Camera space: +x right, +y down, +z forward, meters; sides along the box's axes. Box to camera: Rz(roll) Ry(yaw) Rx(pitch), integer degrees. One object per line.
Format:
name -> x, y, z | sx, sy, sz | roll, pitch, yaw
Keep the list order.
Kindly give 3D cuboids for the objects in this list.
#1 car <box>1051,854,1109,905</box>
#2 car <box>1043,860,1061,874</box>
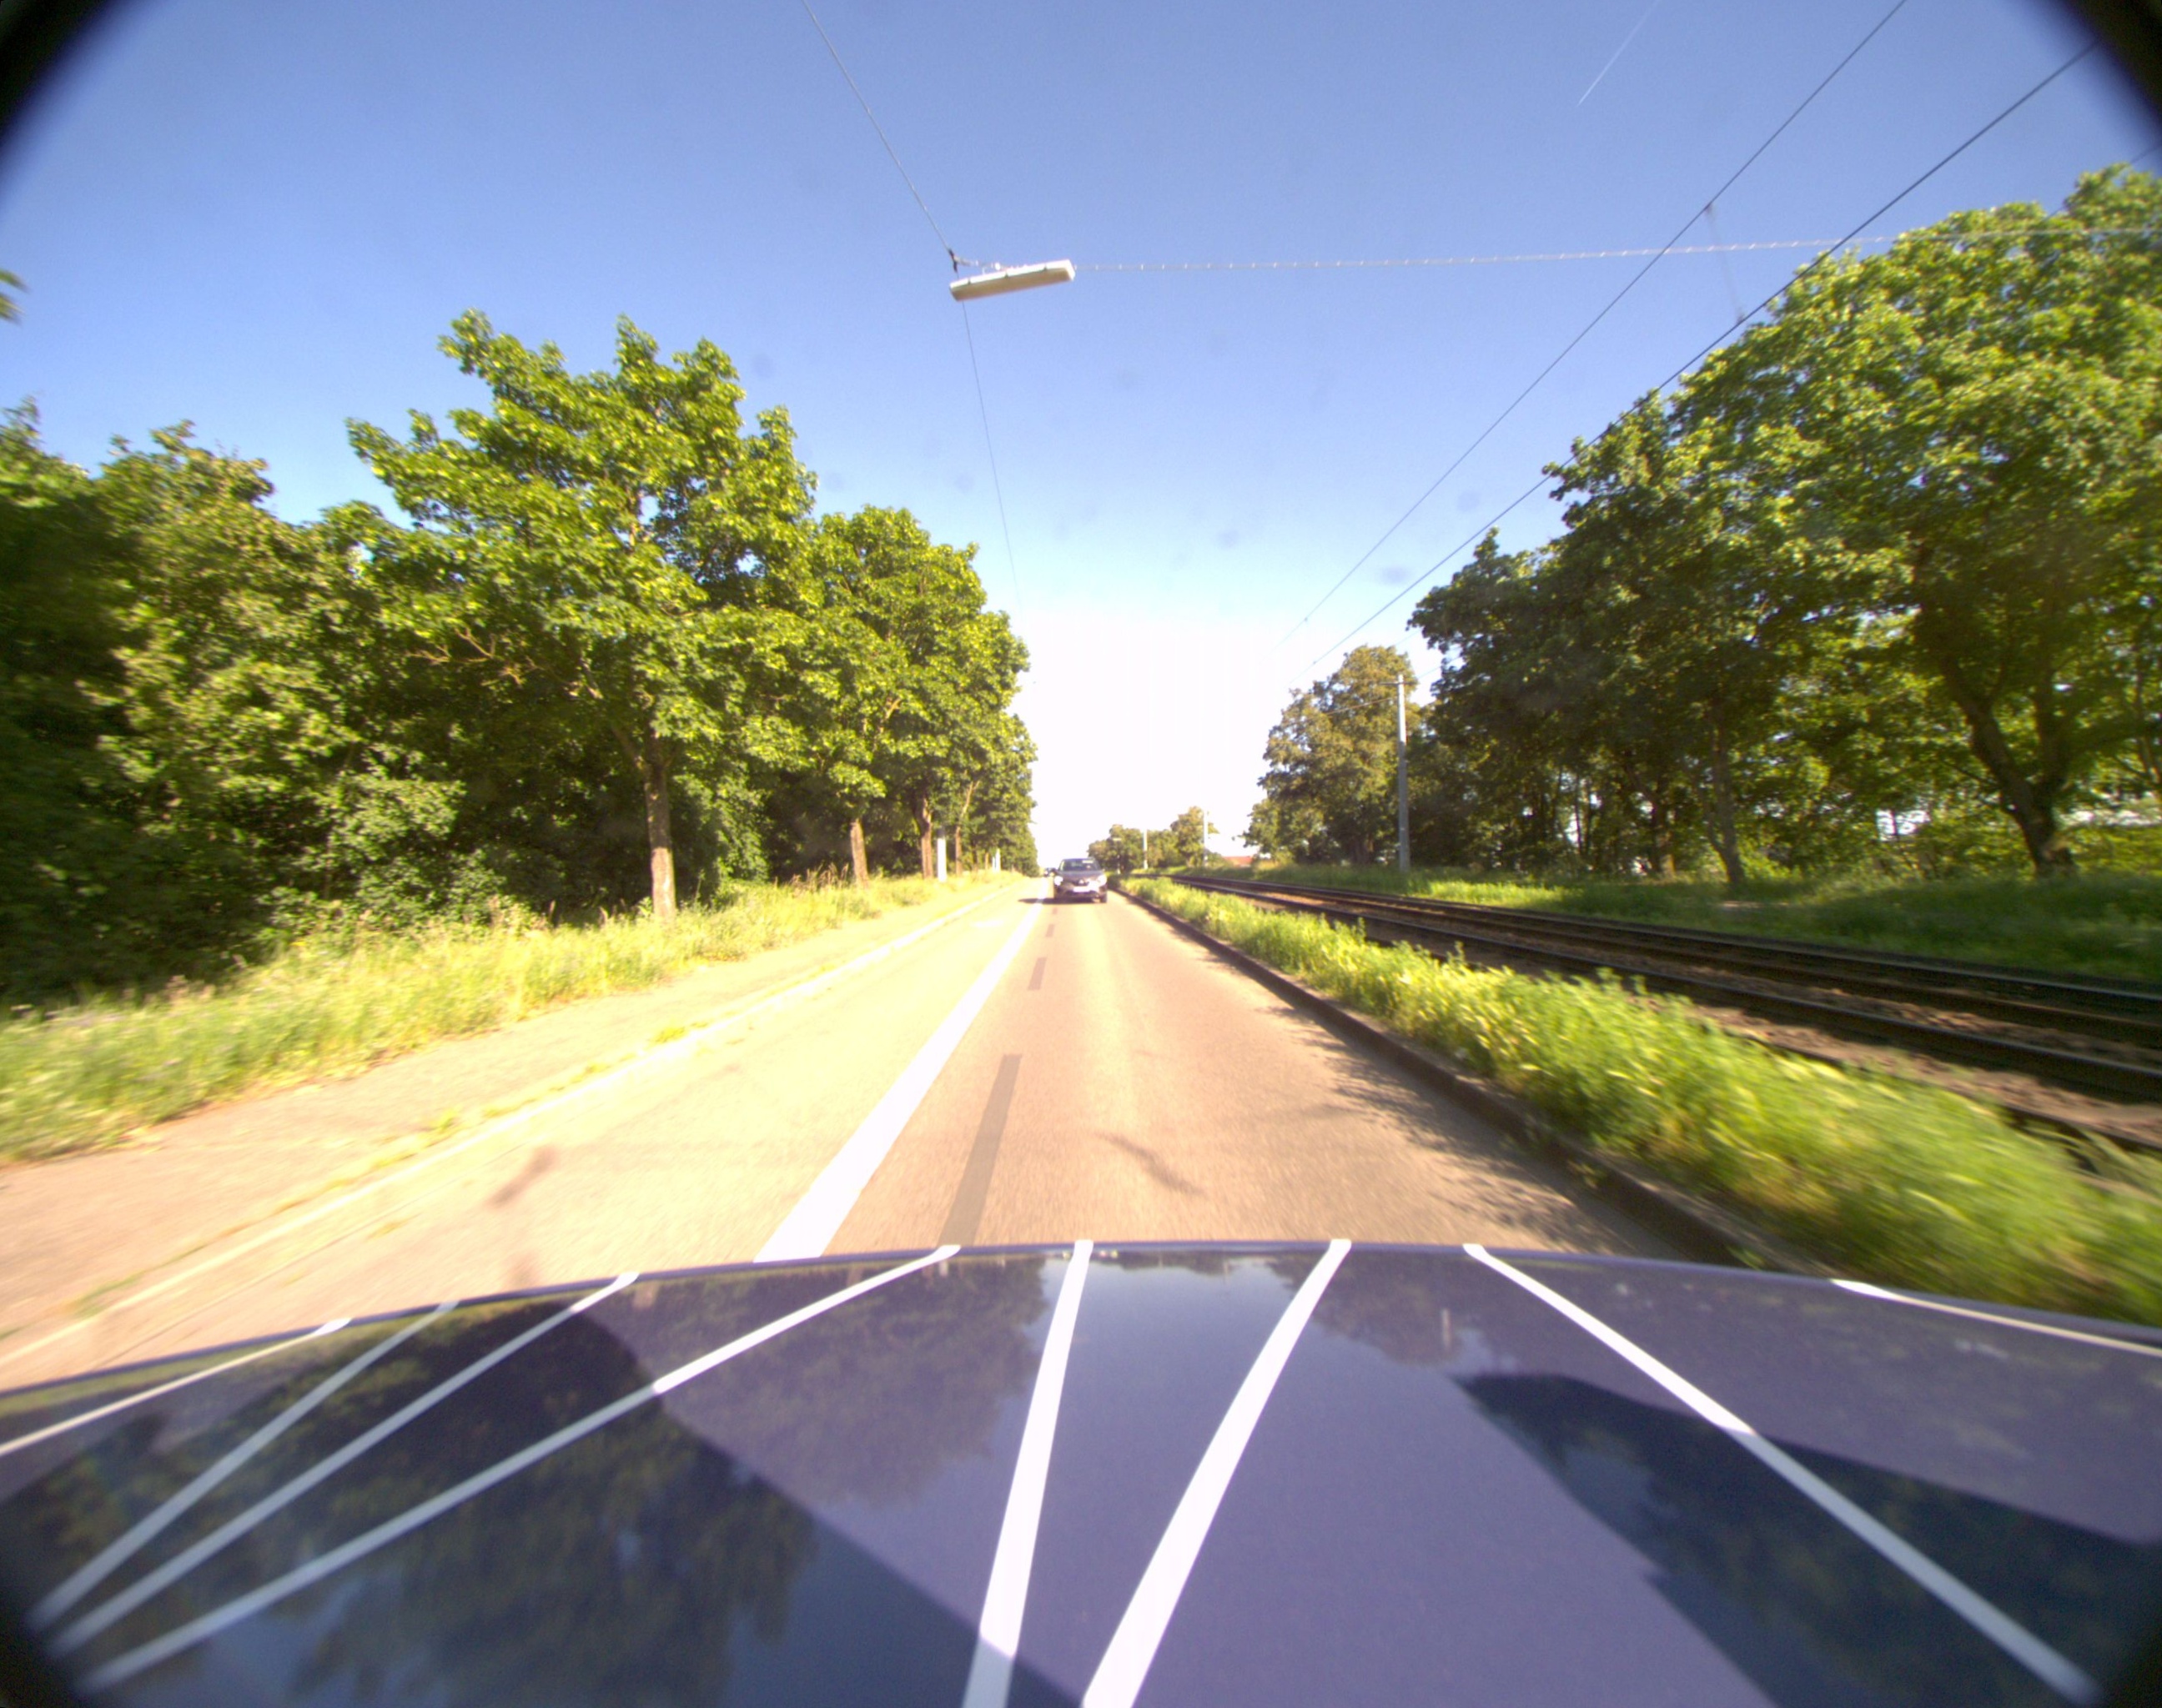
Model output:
car -> -0.082, 0.853, 27.093 | 1.822, 1.589, 4.412 | -3, 0, -1
car -> -3.786, 1.684, 98.702 | 1.999, 1.577, 3.998 | -2, 0, -5
